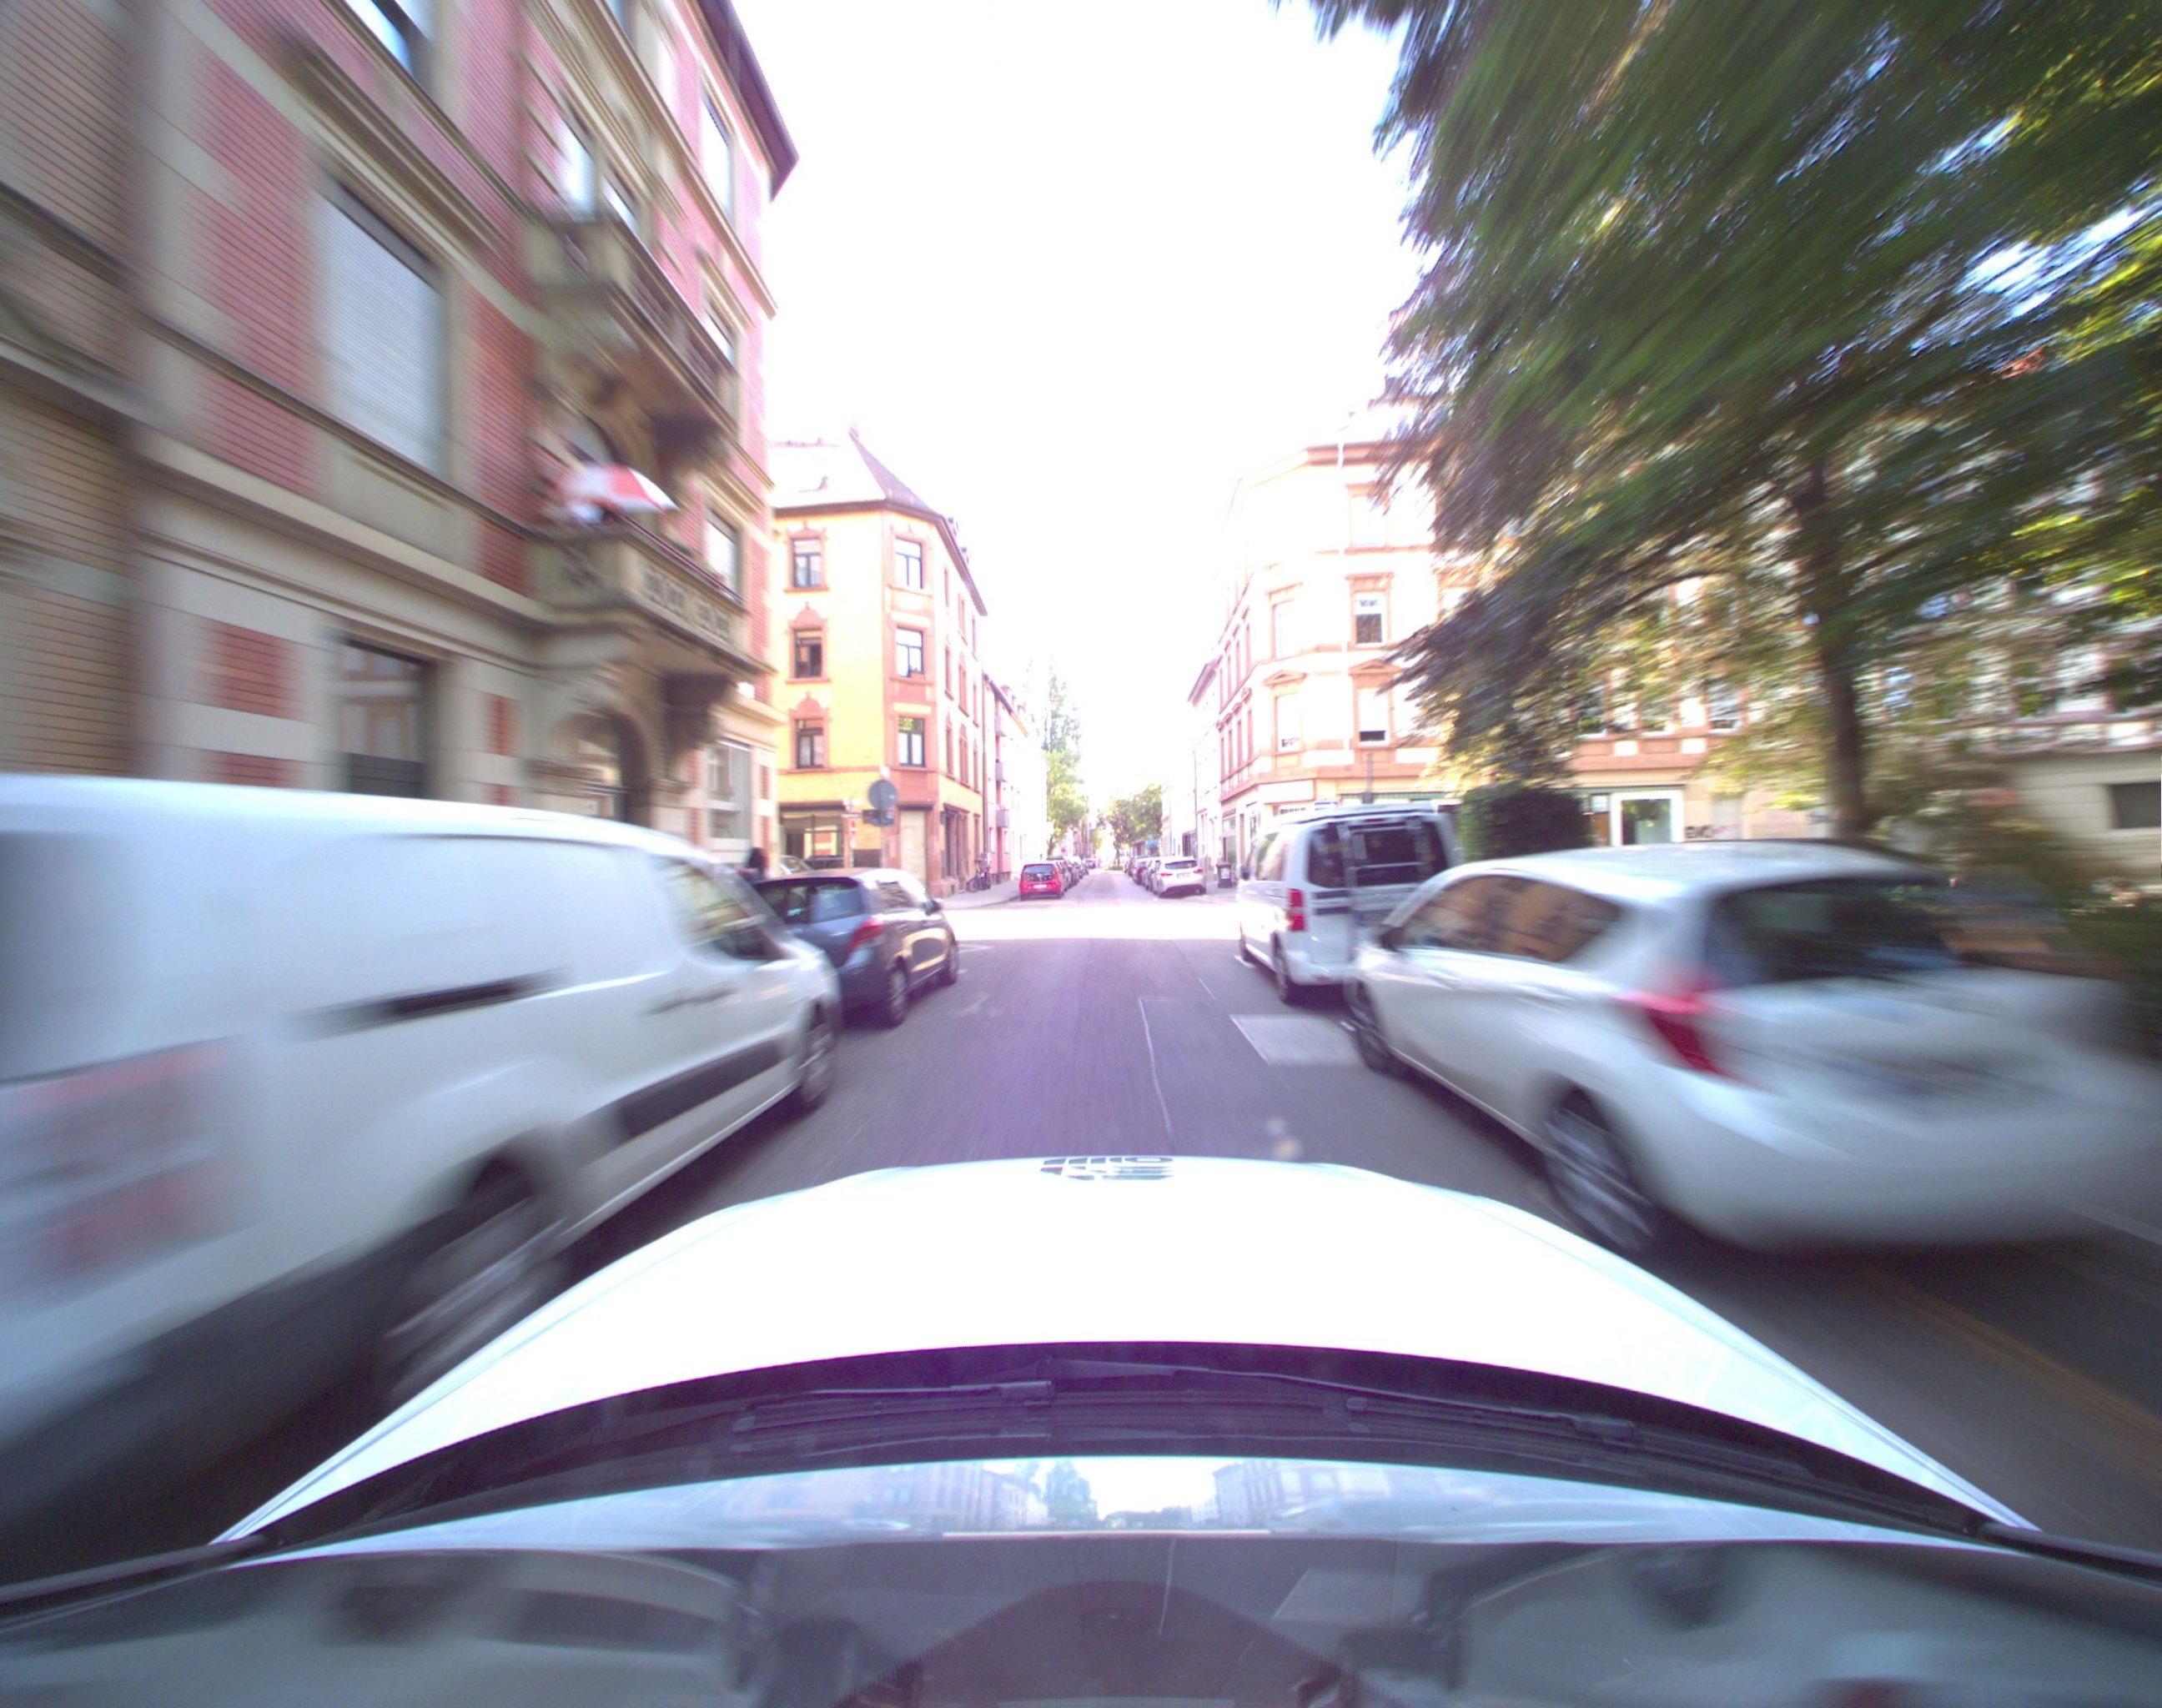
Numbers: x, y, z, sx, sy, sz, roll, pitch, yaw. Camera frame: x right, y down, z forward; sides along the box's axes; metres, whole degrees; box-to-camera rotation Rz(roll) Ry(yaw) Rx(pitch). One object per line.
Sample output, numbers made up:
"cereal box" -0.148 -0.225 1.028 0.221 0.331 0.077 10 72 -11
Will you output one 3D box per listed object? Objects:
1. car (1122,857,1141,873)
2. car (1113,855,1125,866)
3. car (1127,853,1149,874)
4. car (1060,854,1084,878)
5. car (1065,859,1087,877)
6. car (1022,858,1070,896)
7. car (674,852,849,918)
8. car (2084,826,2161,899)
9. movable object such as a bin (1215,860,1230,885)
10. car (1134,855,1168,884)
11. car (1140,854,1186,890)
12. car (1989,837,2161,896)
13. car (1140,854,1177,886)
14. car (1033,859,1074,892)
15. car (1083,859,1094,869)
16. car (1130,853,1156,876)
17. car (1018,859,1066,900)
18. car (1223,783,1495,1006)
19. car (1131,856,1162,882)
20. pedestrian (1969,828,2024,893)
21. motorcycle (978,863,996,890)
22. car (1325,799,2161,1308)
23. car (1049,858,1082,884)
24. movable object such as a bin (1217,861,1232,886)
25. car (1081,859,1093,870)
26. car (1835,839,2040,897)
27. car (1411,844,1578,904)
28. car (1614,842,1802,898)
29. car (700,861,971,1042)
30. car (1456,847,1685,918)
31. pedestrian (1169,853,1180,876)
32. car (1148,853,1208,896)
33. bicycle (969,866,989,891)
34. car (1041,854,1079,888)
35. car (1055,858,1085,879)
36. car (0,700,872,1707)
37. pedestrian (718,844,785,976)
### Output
"car" 5.182 1.149 83.630 1.670 1.487 4.095 -3 0 1
"car" 5.701 0.969 122.583 1.670 1.487 3.638 -3 0 1
"car" 4.834 0.818 69.048 1.669 1.681 4.097 -3 -1 3
"car" -0.673 0.951 67.199 1.759 1.785 4.040 -3 0 1
"car" -0.463 1.275 76.075 1.662 1.469 3.825 -3 0 5
"car" -1.561 1.022 37.716 1.688 1.521 4.099 -3 0 3
"car" -10.032 0.976 25.756 4.686 1.894 2.030 -2 -2 7
"car" 23.535 0.177 16.720 3.511 1.473 1.637 -1 -2 8
"movable object such as a bin" 6.162 0.789 35.502 0.512 1.039 0.594 -3 -1 2
"car" 4.023 0.881 47.393 1.670 1.506 3.938 -3 0 1
"car" 3.773 0.793 37.858 1.738 1.506 4.022 -3 0 1
"car" 26.940 0.351 21.551 3.667 1.473 1.637 -1 -2 8
"car" 4.027 0.794 42.848 1.593 1.506 4.185 -3 0 1
"car" -1.397 1.092 42.538 1.649 1.521 3.948 -3 0 3
"car" 1.199 1.543 126.632 1.670 1.487 4.095 -3 0 1
"car" 4.829 0.840 64.097 1.670 1.627 4.251 -5 -1 1
"car" -1.516 0.978 32.944 1.622 1.481 3.602 -3 0 1
"car" 3.025 0.385 10.065 1.906 1.998 4.796 -3 0 4
"car" 4.161 0.916 52.481 1.670 1.506 3.938 -3 0 1
"pedestrian" 27.625 0.175 24.591 0.712 1.920 0.801 -1 2 1
"motorcycle" -4.505 1.071 39.179 0.531 1.206 1.909 -1 0 2
"car" 2.785 0.639 4.504 1.713 1.571 3.828 -1 0 0
"car" -0.984 1.097 53.241 1.736 1.506 4.350 -3 0 3
"movable object such as a bin" 6.119 0.842 34.811 0.512 1.039 0.620 -3 -1 2
"car" 0.950 1.534 121.380 1.670 1.487 4.095 -3 0 1
"car" 22.986 0.394 21.983 3.511 1.473 1.637 -1 -2 8
"car" 11.790 0.597 23.460 3.897 1.608 1.765 -1 -2 8
"car" 17.422 0.480 22.779 3.833 1.473 1.637 -1 -2 8
"car" -2.428 0.875 9.154 1.687 1.481 3.974 -3 0 1
"car" 10.562 0.633 17.837 3.900 1.439 1.800 -1 -2 5
"pedestrian" 6.771 0.745 58.861 0.683 1.660 0.718 -2 0 1
"car" 3.776 0.776 32.325 1.739 1.506 4.355 -3 0 -1
"bicycle" -4.600 1.087 36.760 0.531 1.074 1.892 3 0 2
"car" -1.181 0.969 48.034 1.736 1.811 4.676 -3 0 3
"car" -0.816 1.108 62.666 1.664 1.486 3.999 -3 0 7
"car" -2.577 0.683 3.763 1.824 1.811 4.573 -3 0 2
"pedestrian" -4.254 0.719 10.555 0.546 1.644 0.717 -1 -3 1
